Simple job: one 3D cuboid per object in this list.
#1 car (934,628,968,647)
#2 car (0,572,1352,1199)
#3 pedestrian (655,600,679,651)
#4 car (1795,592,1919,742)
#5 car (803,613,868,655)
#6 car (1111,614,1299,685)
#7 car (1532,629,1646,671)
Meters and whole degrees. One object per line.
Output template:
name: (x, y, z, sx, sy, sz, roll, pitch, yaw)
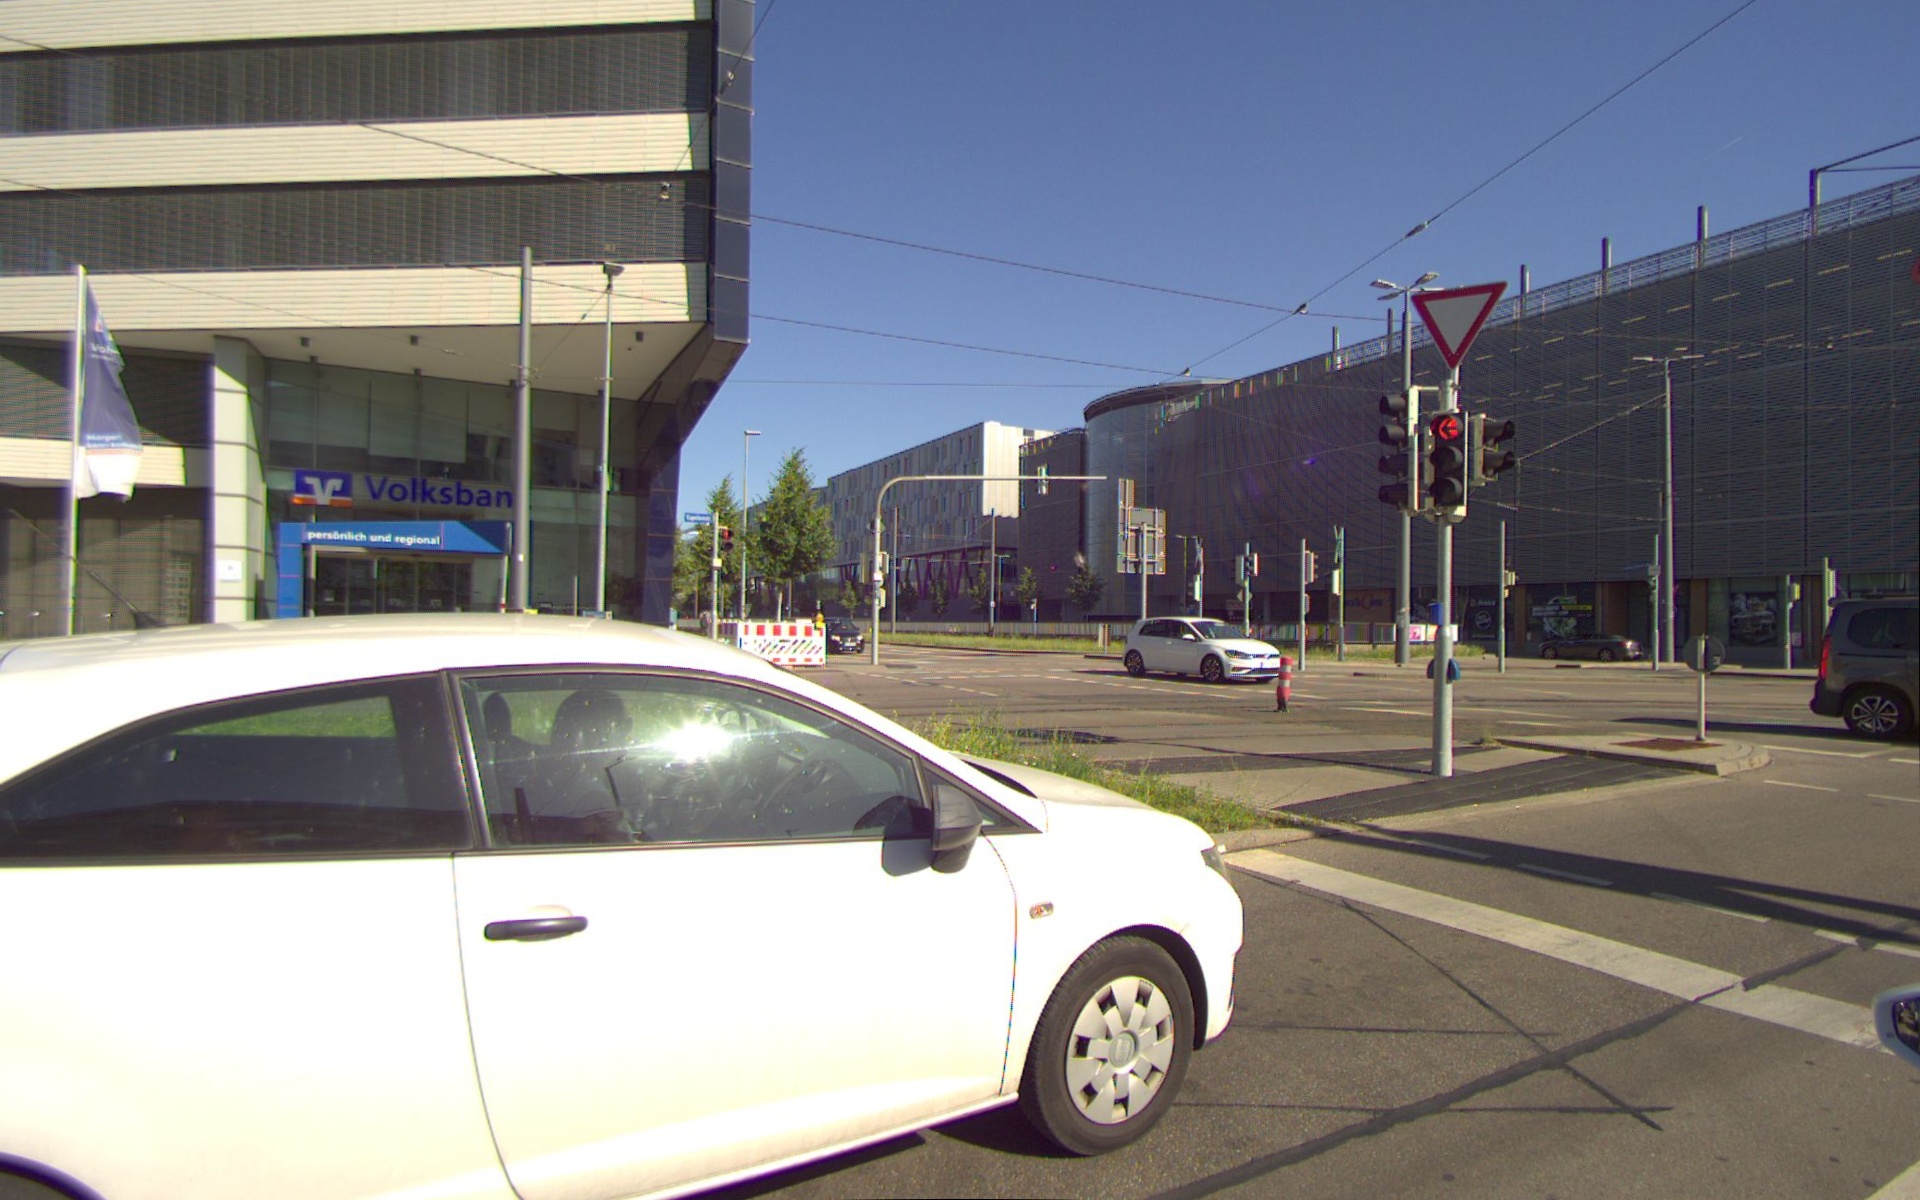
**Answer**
car: (-1.007, 4.018, 108.792, 1.819, 1.666, 4.268, 2, 2, -30)
car: (-0.965, 0.737, 2.792, 3.977, 1.460, 1.723, 2, 1, -31)
pedestrian: (-10.058, 0.889, 34.482, 0.729, 1.719, 0.805, 0, -2, -20)
car: (12.879, 0.822, 11.827, 1.692, 1.815, 4.429, 1, -1, -35)
car: (-5.350, 1.431, 42.859, 1.562, 1.729, 3.526, 1, -2, -29)
car: (5.570, 1.085, 23.339, 1.843, 1.492, 4.263, 1, -1, -29)
car: (30.241, 2.381, 48.409, 1.819, 1.605, 4.268, 2, 2, -30)
